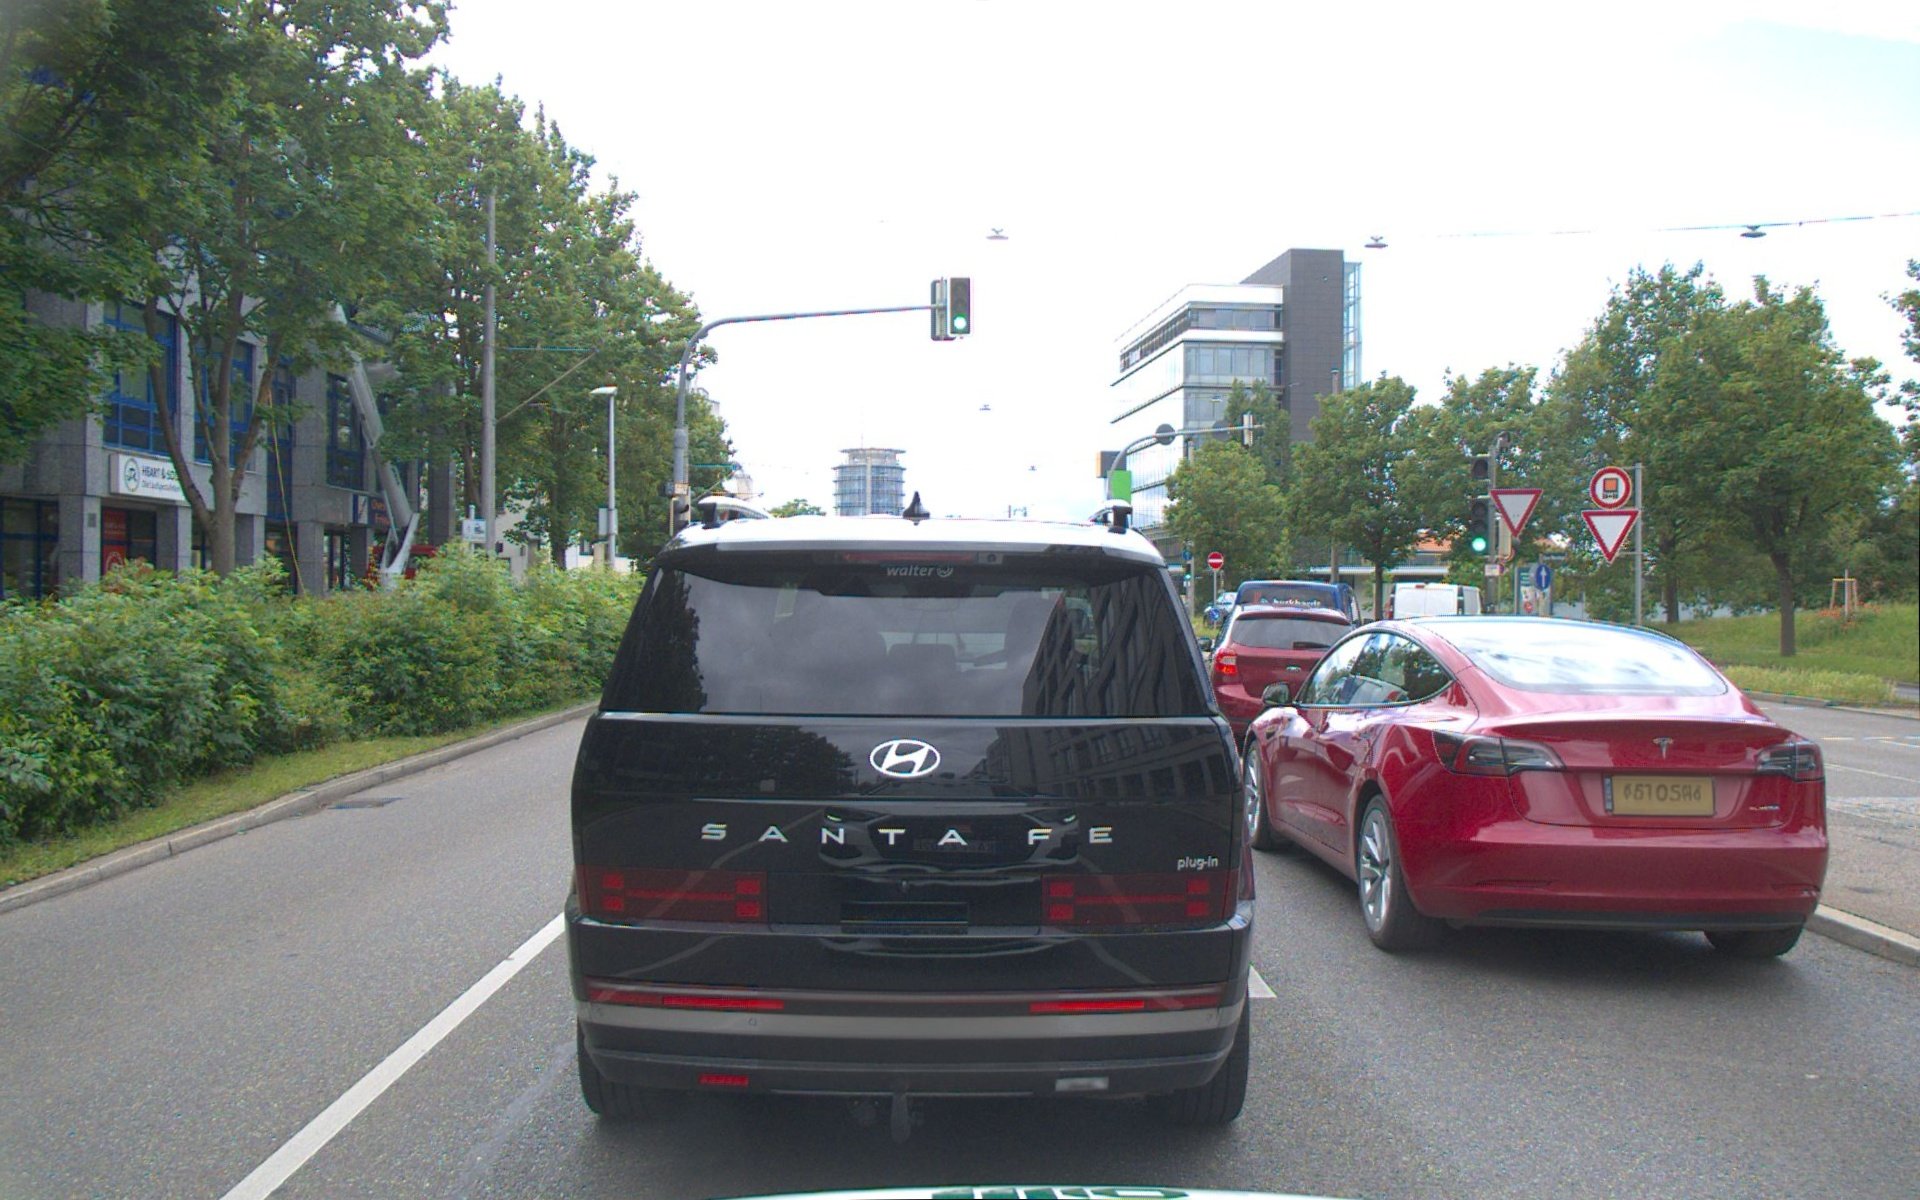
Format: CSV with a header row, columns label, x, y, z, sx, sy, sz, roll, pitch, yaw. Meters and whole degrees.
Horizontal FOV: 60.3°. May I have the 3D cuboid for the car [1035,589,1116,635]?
label,x,y,z,sx,sy,sz,roll,pitch,yaw
car,4.045,0.401,58.677,1.751,1.450,4.384,2,1,-11

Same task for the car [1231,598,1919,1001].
label,x,y,z,sx,sy,sz,roll,pitch,yaw
car,2.693,0.749,8.452,1.835,1.443,4.442,2,0,0

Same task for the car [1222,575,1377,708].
label,x,y,z,sx,sy,sz,roll,pitch,yaw
car,5.581,0.609,26.743,1.862,1.891,4.711,2,0,18

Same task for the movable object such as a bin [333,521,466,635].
label,x,y,z,sx,sy,sz,roll,pitch,yaw
movable object such as a bin,-13.640,-0.529,40.481,1.866,2.575,4.126,2,0,-2

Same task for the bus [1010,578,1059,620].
label,x,y,z,sx,sy,sz,roll,pitch,yaw
bus,5.906,-0.038,133.302,2.908,3.171,9.236,-1,0,-4

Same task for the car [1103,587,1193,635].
label,x,y,z,sx,sy,sz,roll,pitch,yaw
car,6.765,0.364,60.057,1.856,1.591,4.381,2,1,-13

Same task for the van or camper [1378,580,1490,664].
label,x,y,z,sx,sy,sz,roll,pitch,yaw
van or camper,12.006,0.496,41.730,1.955,1.951,4.405,2,1,26

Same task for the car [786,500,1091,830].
label,x,y,z,sx,sy,sz,roll,pitch,yaw
car,0.004,0.392,12.677,1.862,2.003,4.638,2,0,3

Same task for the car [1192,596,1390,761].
label,x,y,z,sx,sy,sz,roll,pitch,yaw
car,3.383,0.734,17.477,1.708,1.507,3.721,1,0,6

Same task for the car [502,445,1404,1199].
label,x,y,z,sx,sy,sz,roll,pitch,yaw
car,-0.044,0.570,5.723,1.863,1.762,4.445,2,0,-1
